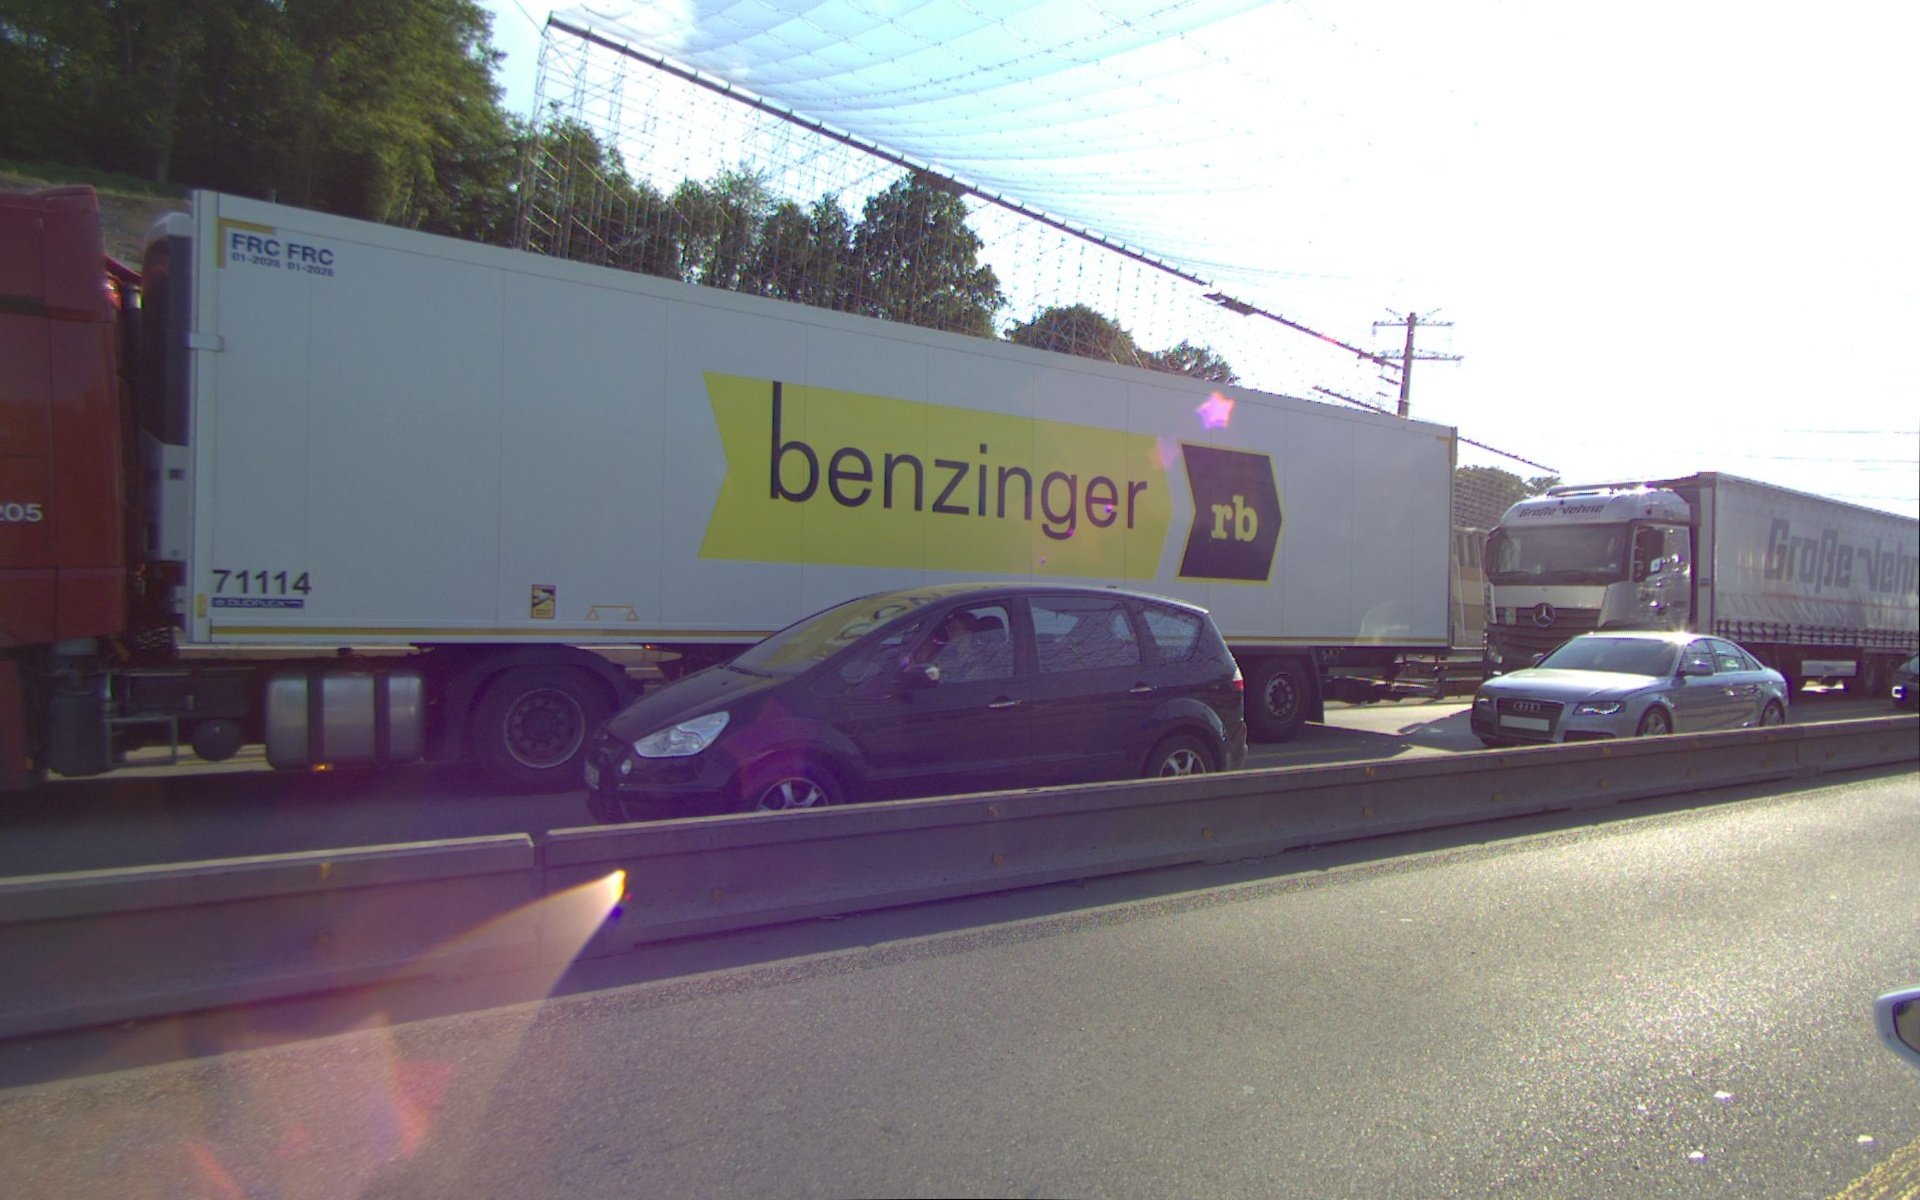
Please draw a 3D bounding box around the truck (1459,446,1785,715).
[{"bbox_3d":[12.194,-0.212,18.405,5.868,4.196,2.772,2,-1,-32],"label":"truck"}]

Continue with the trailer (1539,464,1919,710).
[{"bbox_3d":[17.829,-0.011,21.935,13.811,4.196,2.784,2,-1,-32],"label":"trailer"}]

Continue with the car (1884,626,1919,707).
[{"bbox_3d":[19.944,1.303,19.462,4.783,1.458,1.723,2,1,-31],"label":"car"}]

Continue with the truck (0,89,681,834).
[{"bbox_3d":[-5.448,-0.779,7.582,5.866,4.357,2.731,2,-1,-31],"label":"truck"}]

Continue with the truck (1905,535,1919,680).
[{"bbox_3d":[33.872,0.420,32.010,13.670,4.196,2.769,2,-1,-35],"label":"truck"}]

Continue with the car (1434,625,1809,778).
[{"bbox_3d":[7.814,1.065,11.724,4.835,1.396,1.722,2,1,-31],"label":"car"}]

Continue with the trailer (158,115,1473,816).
[{"bbox_3d":[0.233,-0.639,11.020,13.722,4.391,2.752,2,-1,-31],"label":"trailer"}]

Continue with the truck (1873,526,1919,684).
[{"bbox_3d":[28.453,0.228,28.191,6.612,4.196,2.769,2,-1,-35],"label":"truck"}]

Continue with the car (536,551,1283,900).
[{"bbox_3d":[-0.172,0.665,6.818,4.805,1.679,1.744,2,-1,-30],"label":"car"}]
